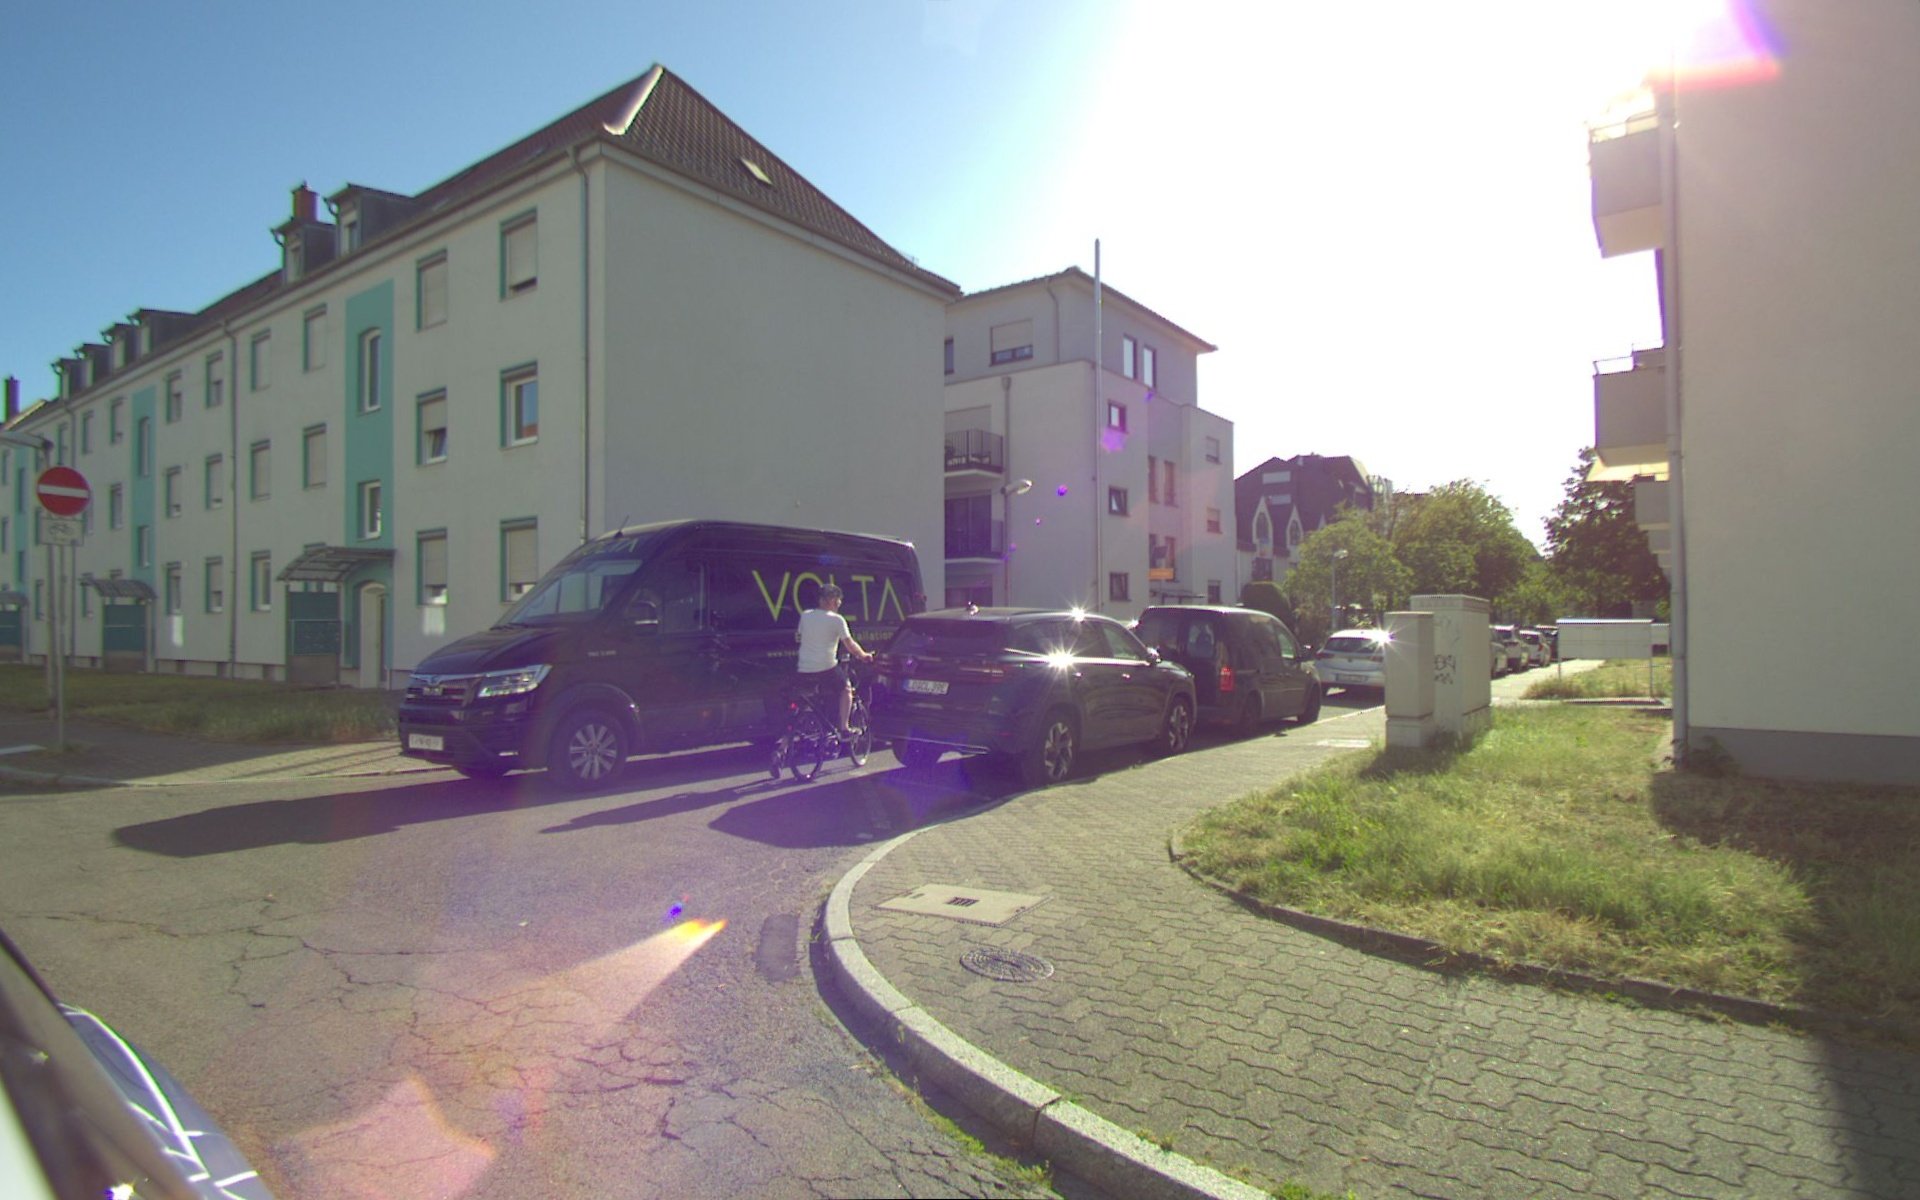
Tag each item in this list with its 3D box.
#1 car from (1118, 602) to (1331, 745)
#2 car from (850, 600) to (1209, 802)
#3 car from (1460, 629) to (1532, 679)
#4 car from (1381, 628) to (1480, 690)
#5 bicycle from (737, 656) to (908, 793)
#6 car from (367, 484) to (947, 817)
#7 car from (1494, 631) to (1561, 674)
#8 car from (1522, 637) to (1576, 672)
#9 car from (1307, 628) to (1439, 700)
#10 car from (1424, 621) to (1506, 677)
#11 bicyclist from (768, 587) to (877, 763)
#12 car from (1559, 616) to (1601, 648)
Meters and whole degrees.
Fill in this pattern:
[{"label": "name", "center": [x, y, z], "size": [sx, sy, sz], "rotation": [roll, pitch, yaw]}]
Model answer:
[{"label": "car", "center": [4.018, 0.991, 14.910], "size": [1.716, 1.802, 3.955], "rotation": [0, -2, 36]}, {"label": "car", "center": [0.973, 0.917, 10.773], "size": [1.716, 1.676, 4.448], "rotation": [0, -2, 36]}, {"label": "car", "center": [19.180, 1.941, 36.142], "size": [1.781, 1.670, 3.524], "rotation": [-2, -4, 36]}, {"label": "car", "center": [12.745, 1.593, 27.320], "size": [1.781, 1.537, 3.524], "rotation": [-2, -4, 36]}, {"label": "bicycle", "center": [-1.269, 1.135, 9.733], "size": [0.627, 1.123, 1.797], "rotation": [1, -1, 30]}, {"label": "car", "center": [-2.731, 0.463, 10.776], "size": [1.997, 2.564, 5.885], "rotation": [-2, -2, 37]}, {"label": "car", "center": [23.461, 2.175, 41.793], "size": [1.783, 1.670, 3.520], "rotation": [-2, -4, 39]}, {"label": "car", "center": [29.635, 2.735, 50.909], "size": [1.783, 1.670, 3.520], "rotation": [-2, -4, 39]}, {"label": "car", "center": [9.091, 1.382, 22.151], "size": [1.783, 1.394, 3.521], "rotation": [1, -2, 38]}, {"label": "car", "center": [16.053, 1.561, 32.075], "size": [1.781, 1.670, 3.524], "rotation": [-2, -4, 36]}, {"label": "bicyclist", "center": [-1.304, 0.693, 9.700], "size": [0.596, 1.591, 0.897], "rotation": [-1, -2, 31]}, {"label": "car", "center": [38.977, 2.051, 63.623], "size": [1.783, 1.922, 3.520], "rotation": [-2, -4, 39]}]
